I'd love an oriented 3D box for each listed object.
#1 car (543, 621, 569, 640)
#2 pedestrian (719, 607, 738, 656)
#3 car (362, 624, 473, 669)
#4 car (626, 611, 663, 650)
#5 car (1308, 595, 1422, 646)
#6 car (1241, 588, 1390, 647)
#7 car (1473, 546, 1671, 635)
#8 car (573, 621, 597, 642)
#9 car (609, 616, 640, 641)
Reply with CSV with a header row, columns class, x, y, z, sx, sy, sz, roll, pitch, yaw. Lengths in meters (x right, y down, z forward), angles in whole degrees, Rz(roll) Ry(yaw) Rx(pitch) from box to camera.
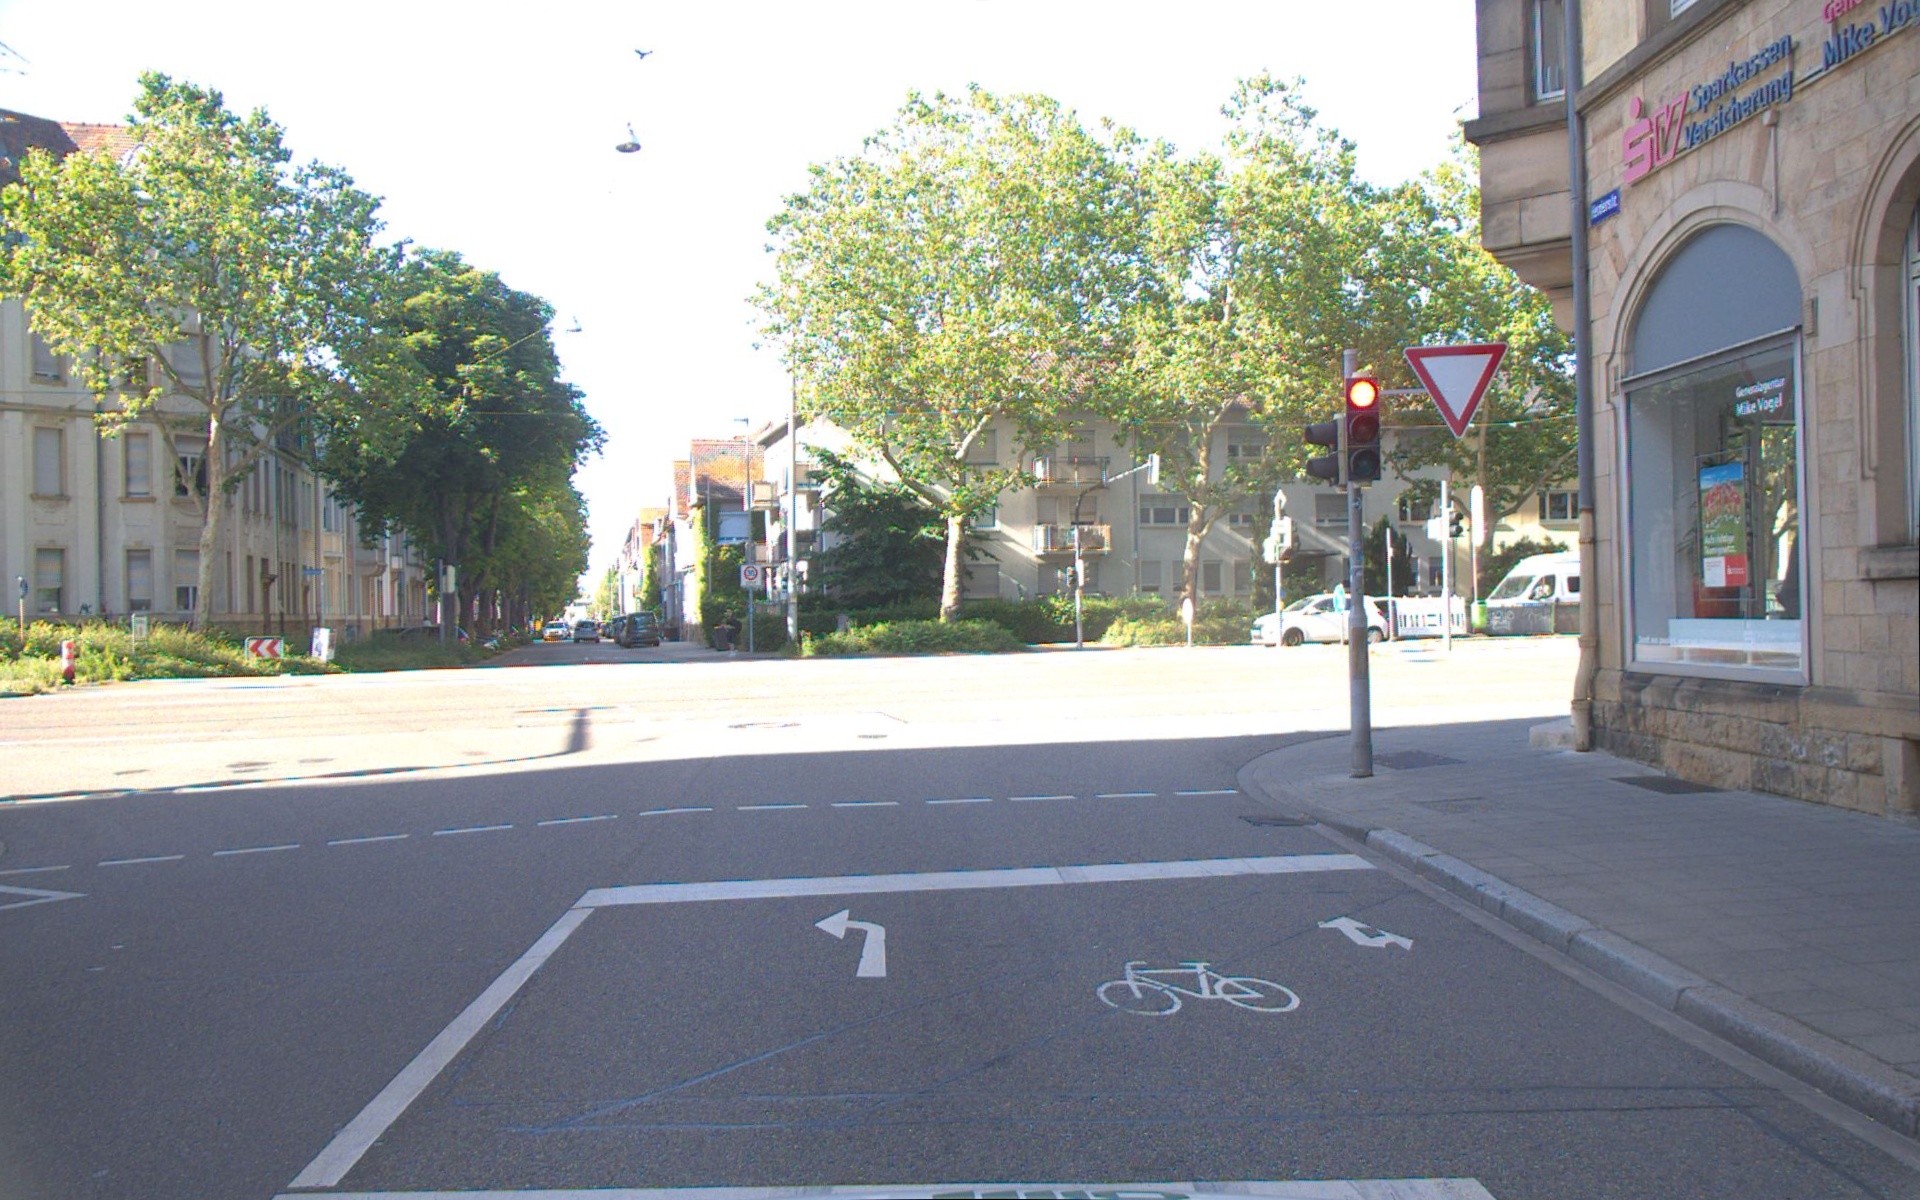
class,x,y,z,sx,sy,sz,roll,pitch,yaw
car,-33.167,2.472,135.829,1.960,1.471,3.984,-2,0,-15
pedestrian,-8.429,1.136,60.217,0.621,1.780,0.658,0,-1,-5
car,-20.781,1.761,63.407,3.928,1.512,1.672,-2,0,-20
car,-17.930,1.705,94.244,1.957,2.049,3.990,-2,0,-10
car,13.149,0.655,53.729,3.333,1.513,1.514,-2,0,-23
car,9.948,0.472,46.313,3.722,1.498,1.624,-2,0,-13
car,19.425,-0.313,52.495,5.949,2.613,1.989,-2,0,-19
car,-28.639,2.394,126.291,1.646,1.509,3.507,0,-1,-15
car,-25.386,2.176,125.159,1.962,1.865,3.981,0,-1,-16
